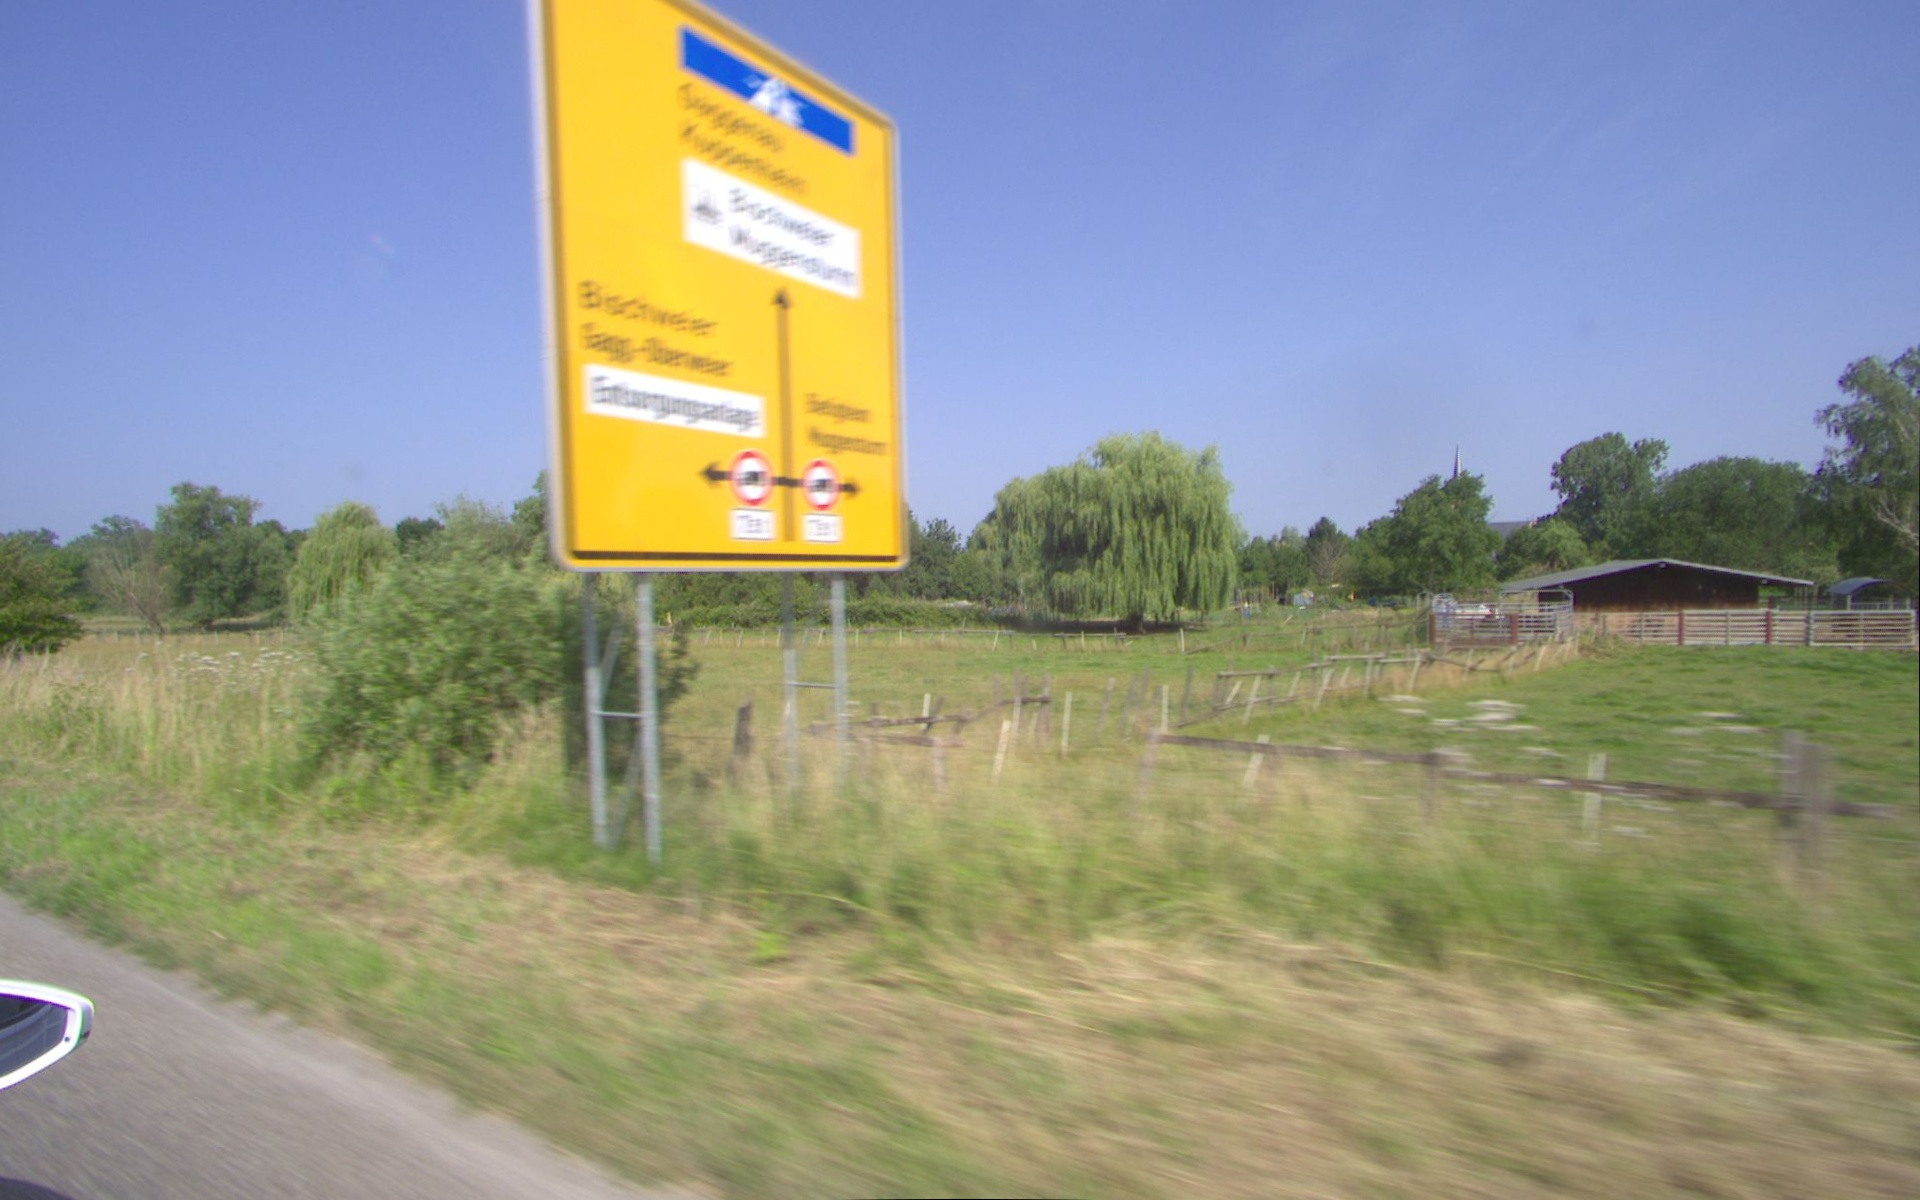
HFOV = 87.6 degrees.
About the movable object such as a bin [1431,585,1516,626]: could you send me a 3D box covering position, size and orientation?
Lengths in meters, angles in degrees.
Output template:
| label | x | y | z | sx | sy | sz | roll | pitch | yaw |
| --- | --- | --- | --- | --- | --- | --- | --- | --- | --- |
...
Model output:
| label | x | y | z | sx | sy | sz | roll | pitch | yaw |
| --- | --- | --- | --- | --- | --- | --- | --- | --- | --- |
| movable object such as a bin | 28.903 | 0.310 | 56.378 | 4.104 | 2.223 | 1.989 | -1 | 0 | 32 |
